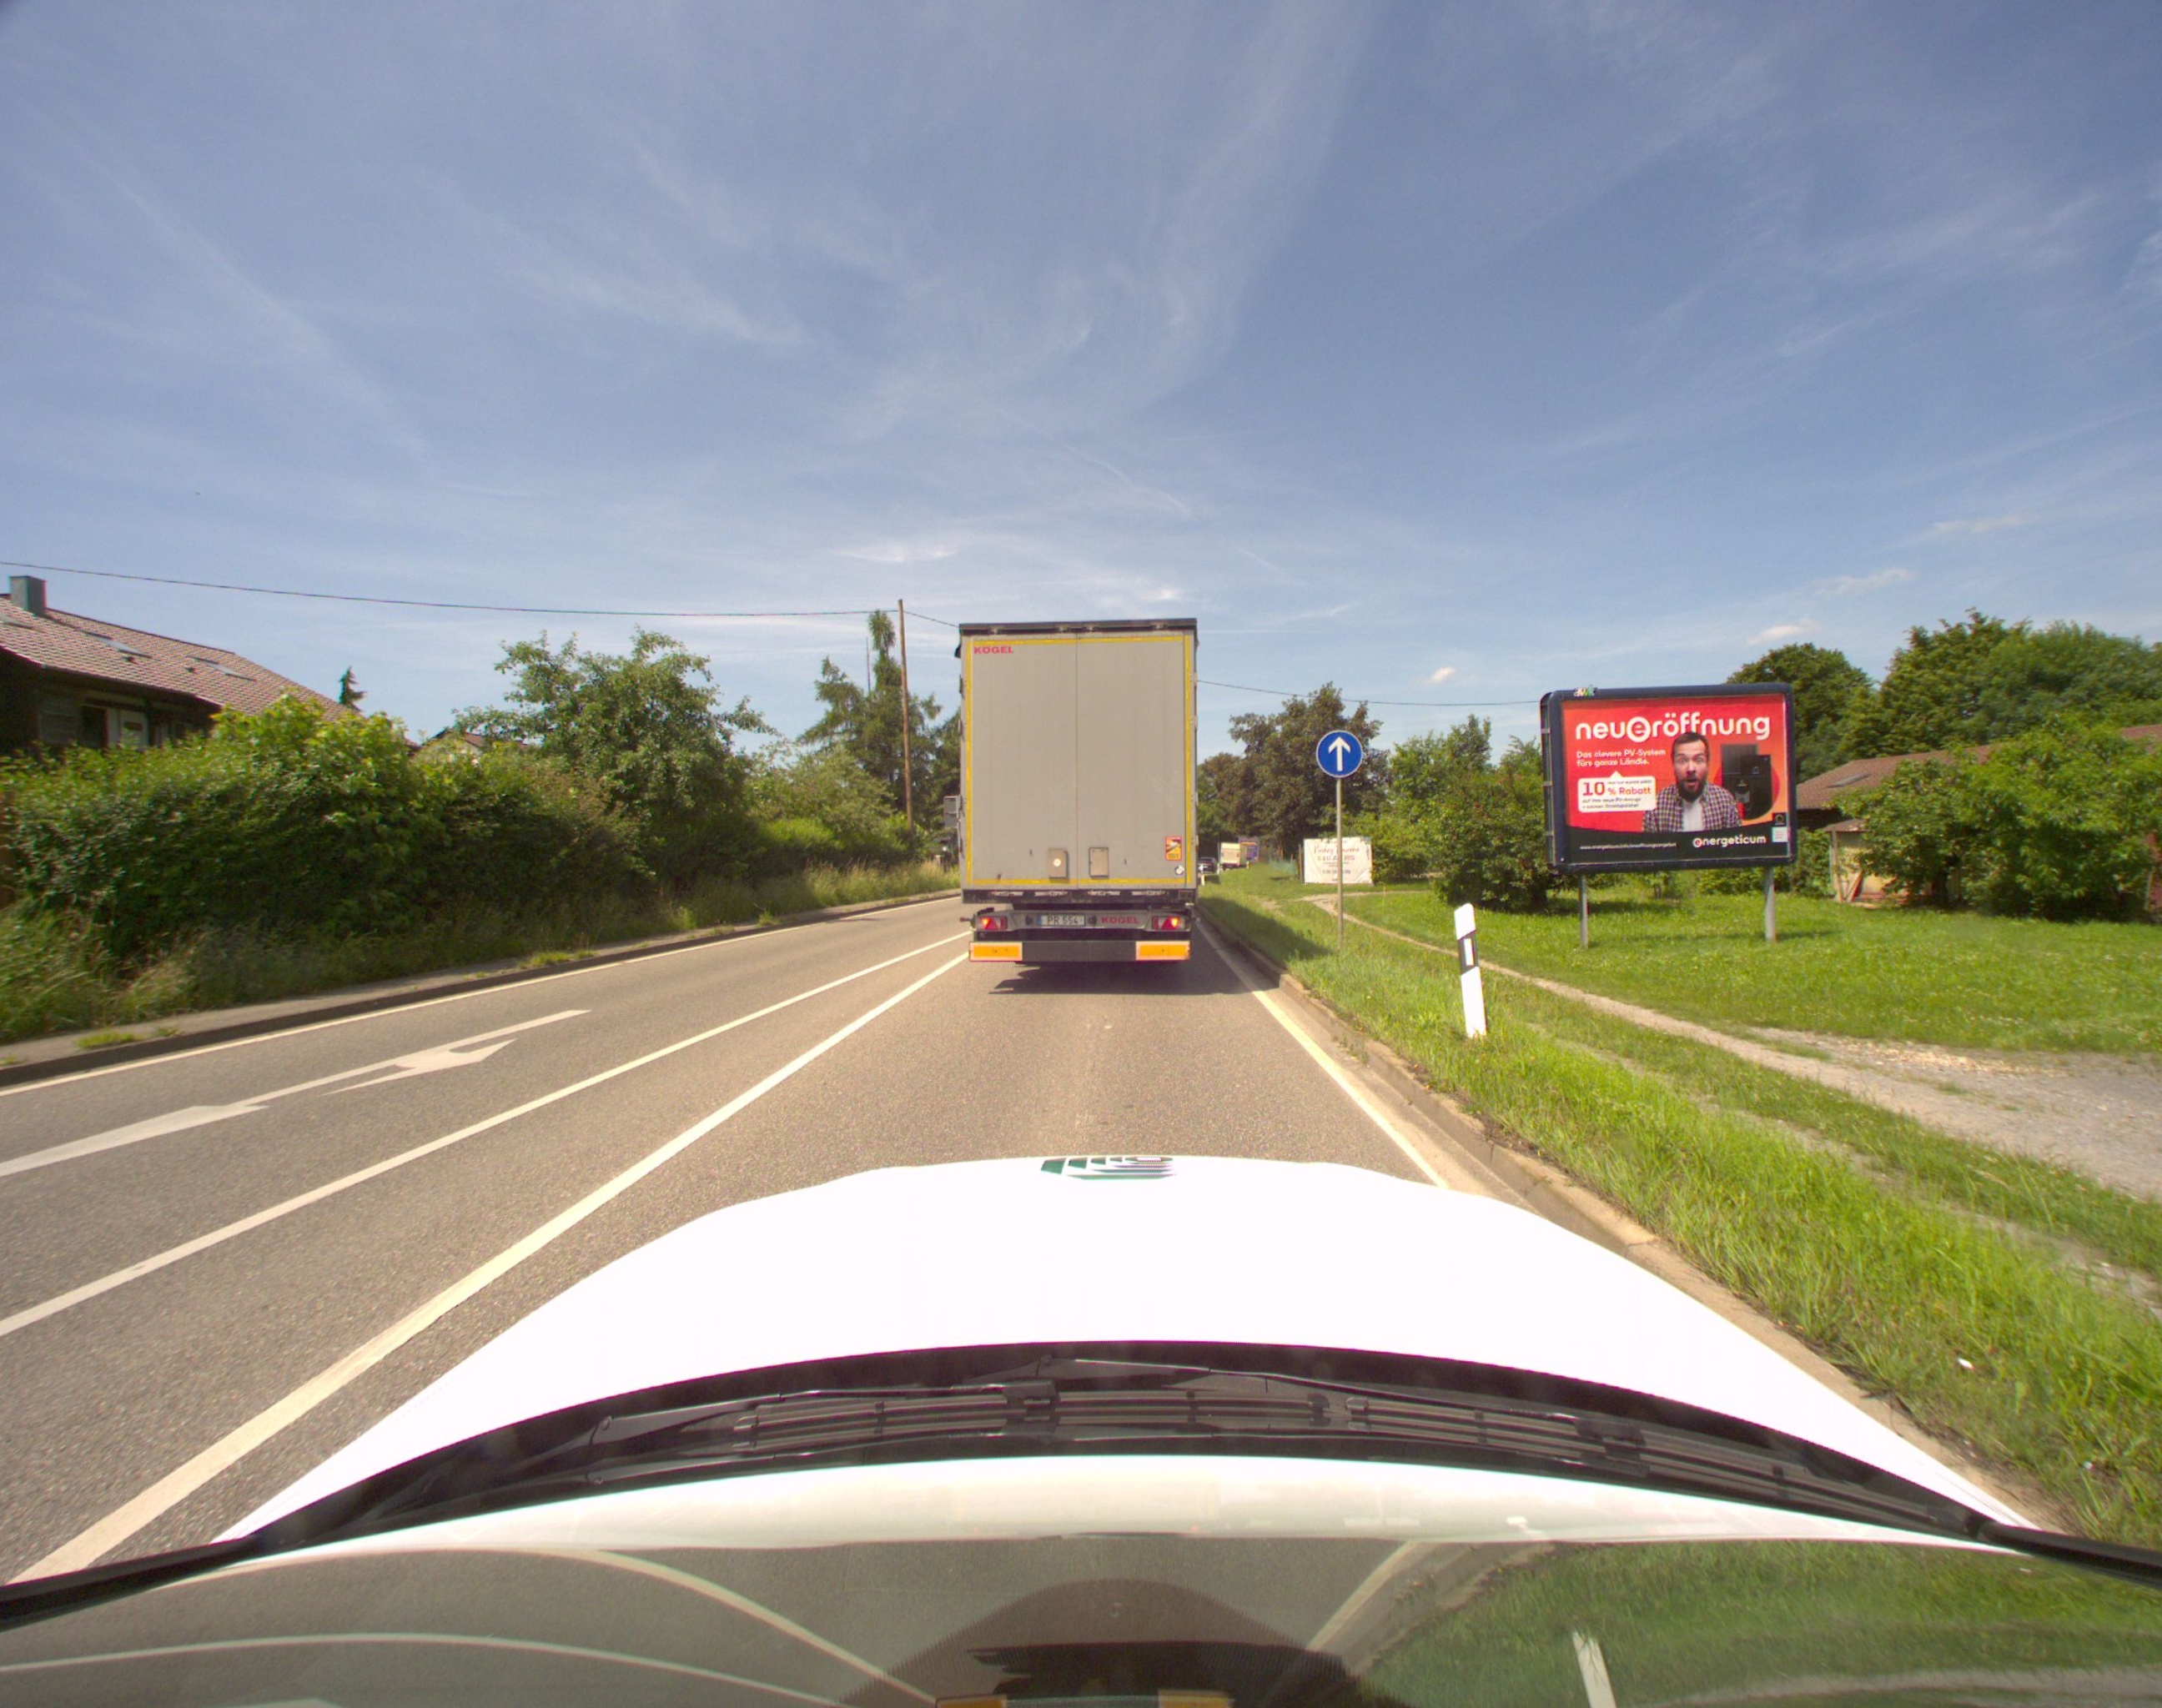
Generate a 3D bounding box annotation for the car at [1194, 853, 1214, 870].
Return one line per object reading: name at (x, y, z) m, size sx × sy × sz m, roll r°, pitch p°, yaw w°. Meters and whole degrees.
car at (11.531, 0.687, 76.329) m, size 1.831 × 1.486 × 4.010 m, roll -1°, pitch 0°, yaw 8°

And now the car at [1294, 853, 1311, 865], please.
car at (34.594, 0.752, 127.078) m, size 1.975 × 1.684 × 4.023 m, roll -1°, pitch 0°, yaw 25°

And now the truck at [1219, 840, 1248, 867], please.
truck at (16.778, -0.080, 89.301) m, size 2.401 × 2.838 × 5.438 m, roll -1°, pitch 0°, yaw 18°

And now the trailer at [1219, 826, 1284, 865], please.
trailer at (22.340, -1.052, 105.340) m, size 5.133 × 4.628 × 15.984 m, roll -1°, pitch 0°, yaw 23°

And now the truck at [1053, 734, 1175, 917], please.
truck at (1.101, -0.663, 21.780) m, size 2.731 × 4.165 × 6.154 m, roll -1°, pitch 0°, yaw 6°

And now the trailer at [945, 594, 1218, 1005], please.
trailer at (0.460, -0.603, 14.456) m, size 2.774 × 4.205 × 12.126 m, roll -1°, pitch 0°, yaw 4°

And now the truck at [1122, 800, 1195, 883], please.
truck at (4.873, -0.700, 49.661) m, size 3.914 × 4.574 × 7.170 m, roll -1°, pitch 0°, yaw 9°

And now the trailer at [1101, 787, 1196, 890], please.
trailer at (3.884, -0.666, 42.705) m, size 3.868 × 4.521 × 12.746 m, roll -1°, pitch 0°, yaw 9°
